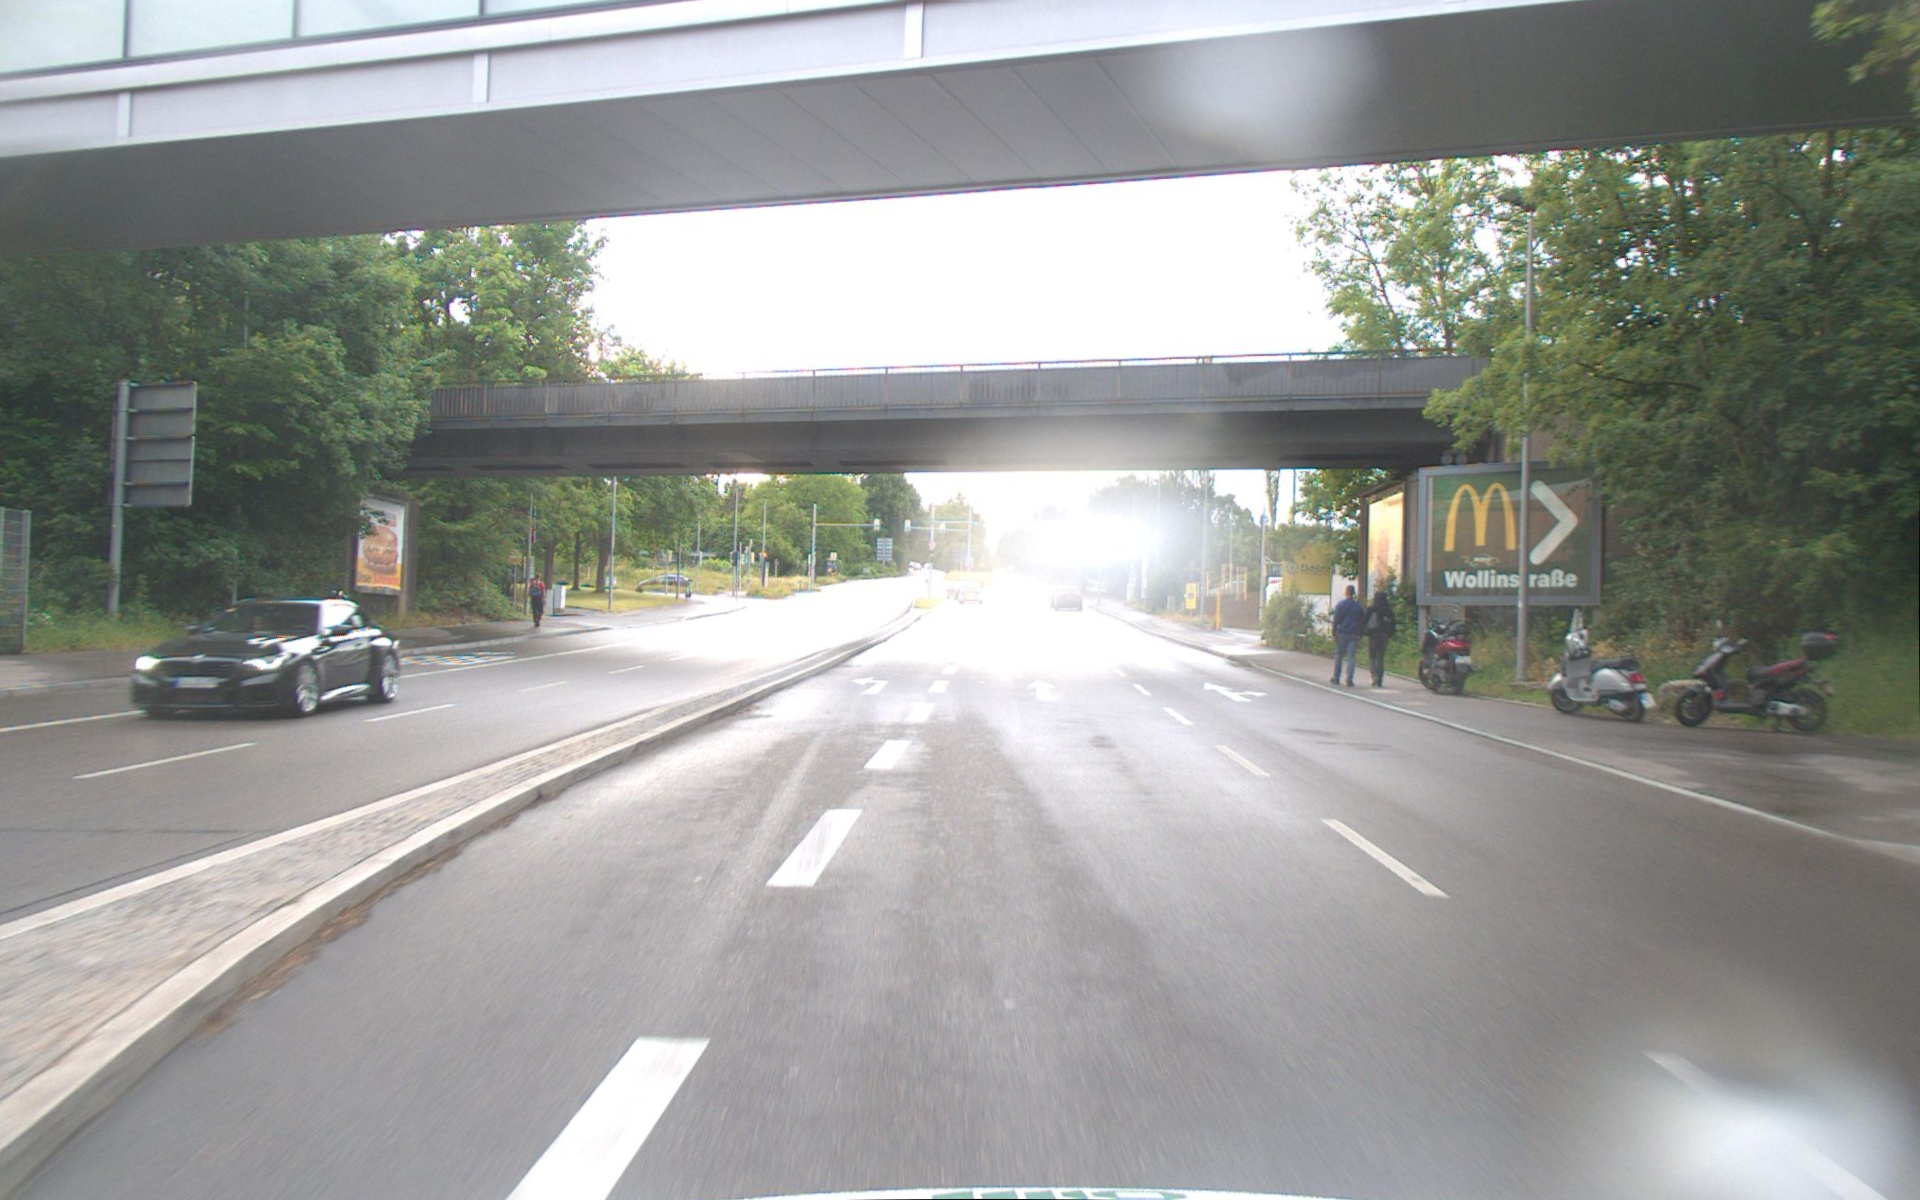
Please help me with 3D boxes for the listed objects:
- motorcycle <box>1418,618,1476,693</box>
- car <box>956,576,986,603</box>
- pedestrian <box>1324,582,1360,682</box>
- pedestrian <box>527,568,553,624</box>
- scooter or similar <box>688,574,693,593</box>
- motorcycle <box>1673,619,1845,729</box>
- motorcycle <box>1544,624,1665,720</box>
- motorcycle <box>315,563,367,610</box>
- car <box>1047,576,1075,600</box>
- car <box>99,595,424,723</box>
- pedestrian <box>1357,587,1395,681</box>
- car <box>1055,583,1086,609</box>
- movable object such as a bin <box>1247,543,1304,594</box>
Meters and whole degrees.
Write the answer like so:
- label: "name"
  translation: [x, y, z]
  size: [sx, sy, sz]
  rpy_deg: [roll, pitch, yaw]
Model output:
- label: "motorcycle"
  translation: [8.011, 0.895, 27.261]
  size: [0.460, 1.156, 1.819]
  rpy_deg: [1, 0, 1]
- label: "car"
  translation: [0.792, -0.747, 118.695]
  size: [2.034, 1.748, 4.198]
  rpy_deg: [3, -1, 0]
- label: "pedestrian"
  translation: [6.845, 0.565, 29.660]
  size: [0.598, 1.751, 0.892]
  rpy_deg: [1, 0, 12]
- label: "pedestrian"
  translation: [-14.046, -0.140, 55.356]
  size: [0.508, 1.847, 0.800]
  rpy_deg: [2, 0, 12]
- label: "scooter or similar"
  translation: [-18.256, -1.101, 112.017]
  size: [0.306, 1.239, 1.304]
  rpy_deg: [1, 1, -12]
- label: "motorcycle"
  translation: [10.177, 0.913, 21.098]
  size: [1.906, 1.320, 0.545]
  rpy_deg: [1, 0, 37]
- label: "motorcycle"
  translation: [8.879, 0.962, 22.877]
  size: [0.462, 1.234, 1.935]
  rpy_deg: [1, 0, -17]
- label: "motorcycle"
  translation: [-15.907, -0.355, 42.508]
  size: [0.459, 1.179, 1.933]
  rpy_deg: [1, 1, 5]
- label: "car"
  translation: [6.878, -0.821, 113.252]
  size: [1.709, 1.495, 4.167]
  rpy_deg: [2, 1, 1]
- label: "car"
  translation: [-8.527, 0.647, 20.743]
  size: [2.021, 1.385, 4.757]
  rpy_deg: [1, 0, 0]
- label: "pedestrian"
  translation: [7.348, 0.593, 29.217]
  size: [0.636, 1.624, 0.579]
  rpy_deg: [1, 0, 13]
- label: "car"
  translation: [6.973, -0.294, 104.671]
  size: [1.709, 1.495, 4.167]
  rpy_deg: [2, 1, 1]
- label: "movable object such as a bin"
  translation: [21.250, -2.156, 111.516]
  size: [2.257, 3.333, 5.418]
  rpy_deg: [1, 1, -6]
